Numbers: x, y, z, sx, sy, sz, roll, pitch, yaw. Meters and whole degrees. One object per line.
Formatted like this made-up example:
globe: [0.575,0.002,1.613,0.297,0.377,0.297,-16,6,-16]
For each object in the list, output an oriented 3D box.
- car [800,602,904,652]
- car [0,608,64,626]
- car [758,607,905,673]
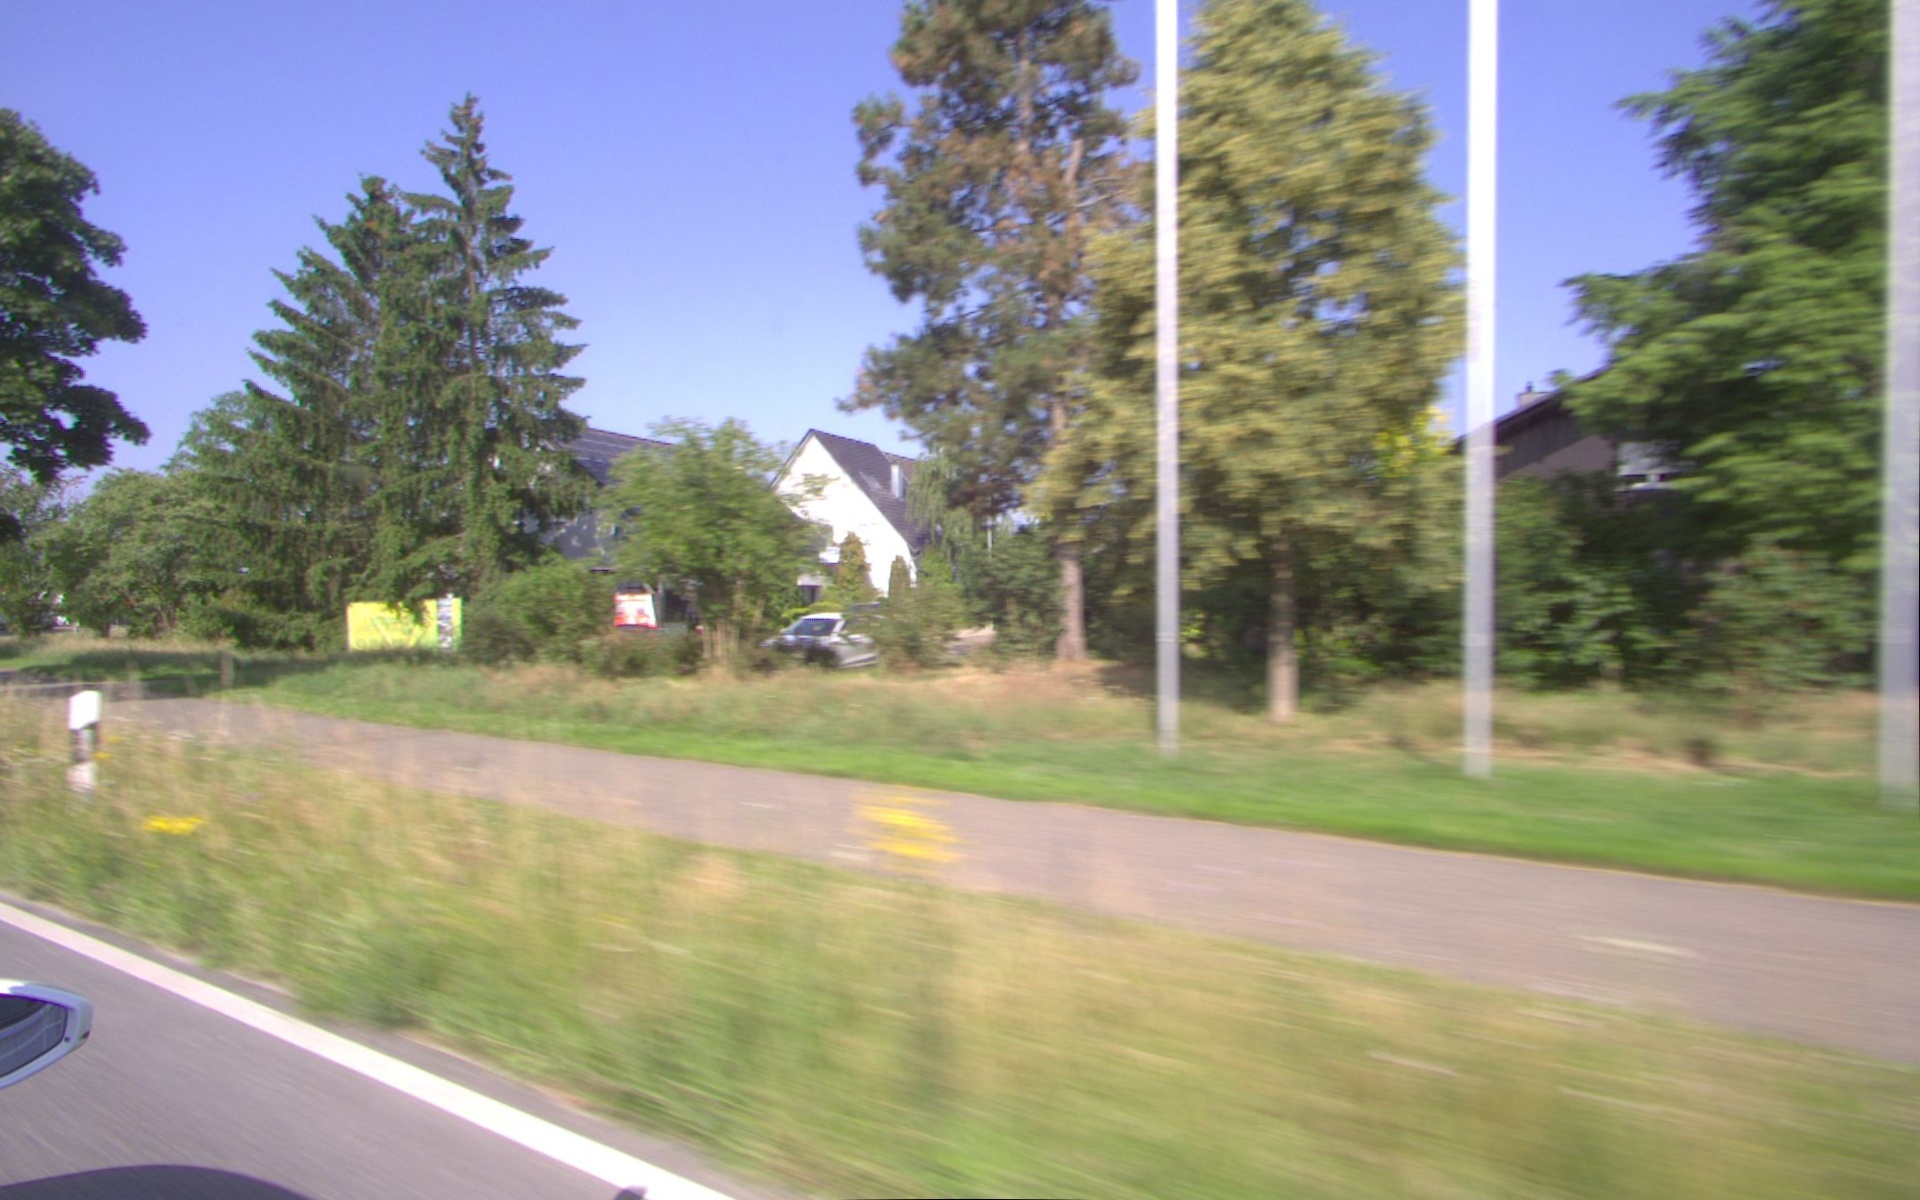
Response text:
car: [-3.843,0.941,36.117,1.812,1.684,3.922,-1,-1,29]
car: [-89.086,1.632,95.945,4.389,1.720,1.765,1,-1,-24]
car: [-3.054,0.920,24.634,1.785,1.453,3.987,0,0,24]
